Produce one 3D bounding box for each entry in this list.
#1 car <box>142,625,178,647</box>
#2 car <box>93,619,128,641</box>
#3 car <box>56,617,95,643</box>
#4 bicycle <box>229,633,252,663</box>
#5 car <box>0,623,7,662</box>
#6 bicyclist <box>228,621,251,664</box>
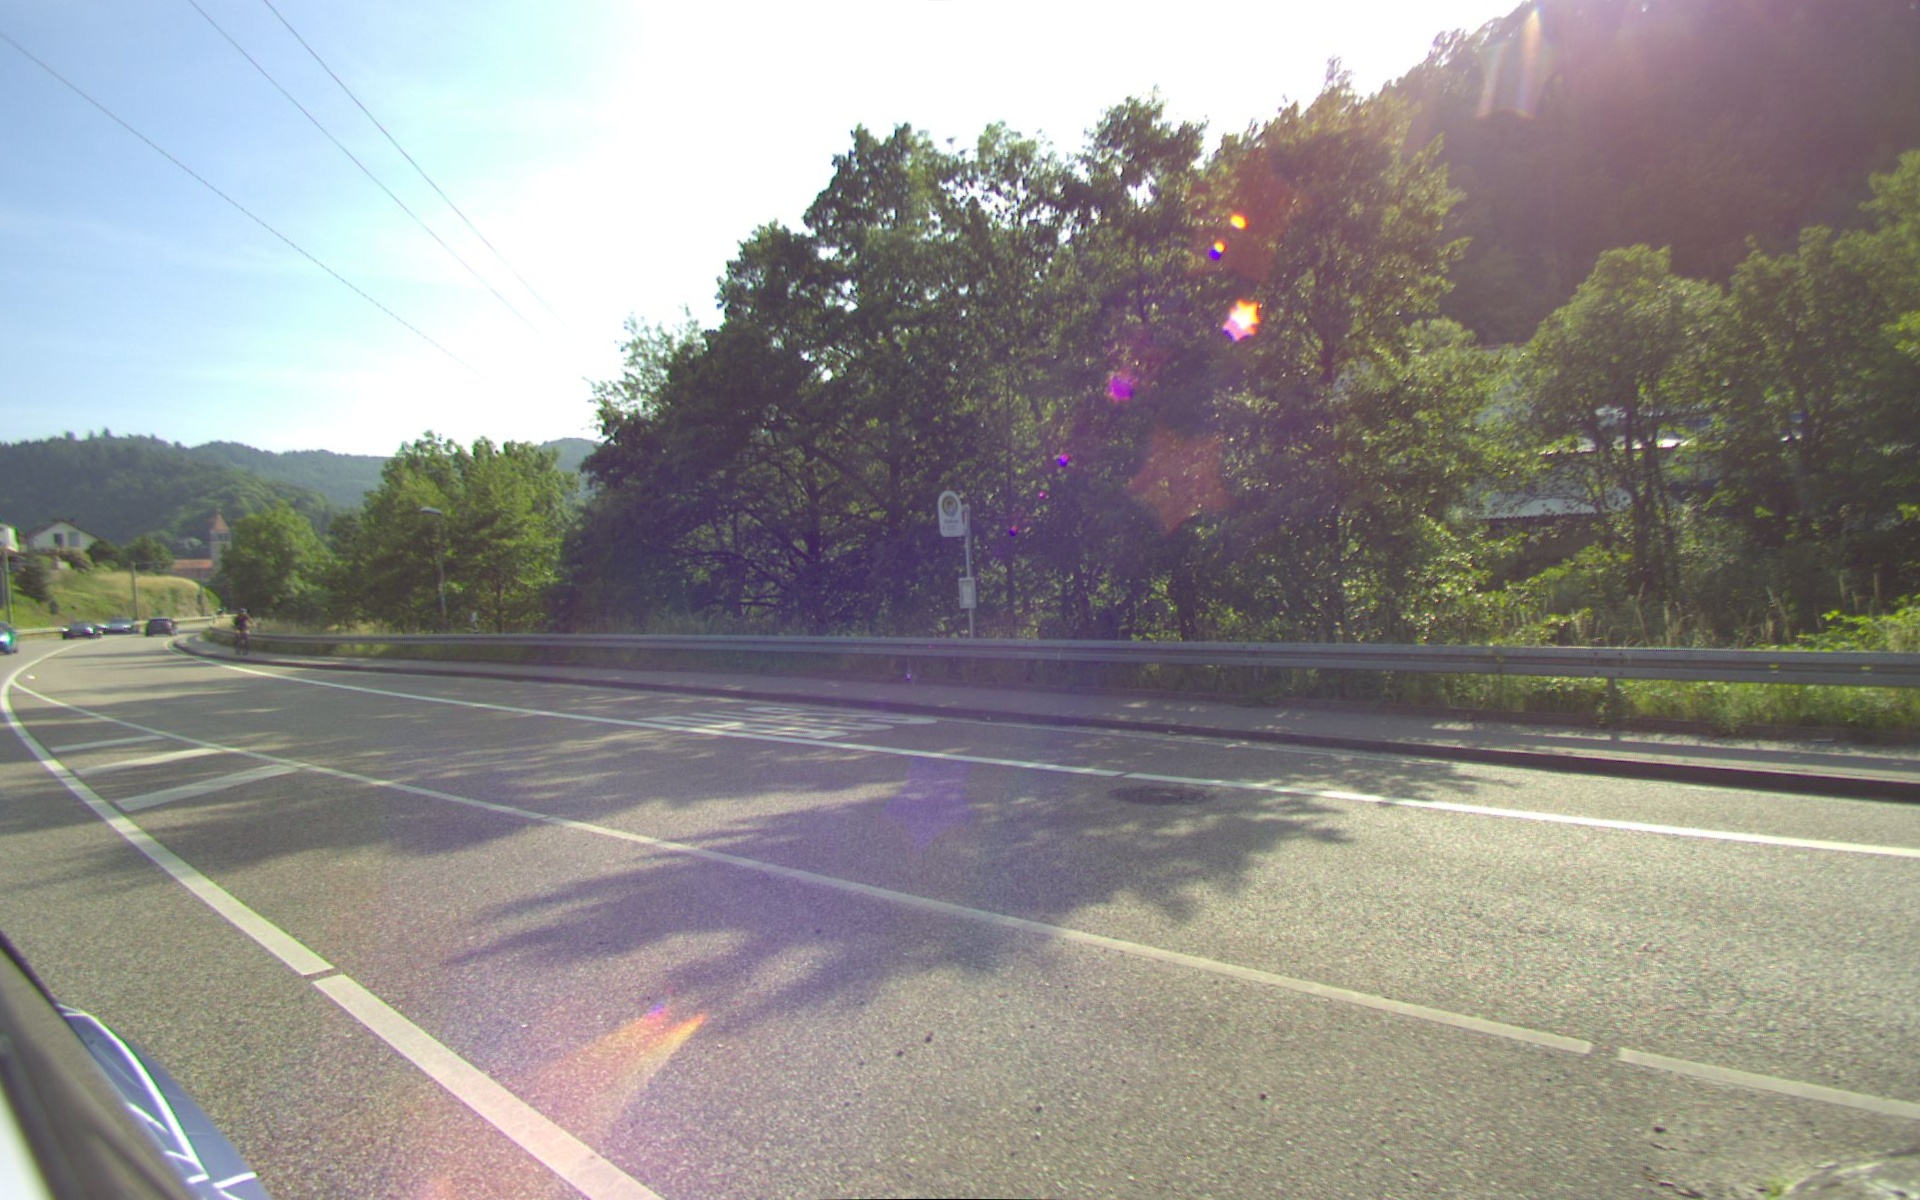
[{"bbox_3d":[-63.062,2.826,79.837,1.865,1.499,4.011,-2,1,-33],"label":"car"},{"bbox_3d":[-71.847,2.481,85.661,1.855,1.758,4.189,-1,0,-34],"label":"car"},{"bbox_3d":[-64.290,2.167,73.615,1.856,1.758,4.187,-1,0,-38],"label":"car"},{"bbox_3d":[-27.577,1.832,38.772,0.550,1.053,2.234,-6,2,-37],"label":"bicycle"},{"bbox_3d":[-45.078,1.934,46.459,1.858,1.758,4.181,1,-2,-44],"label":"car"},{"bbox_3d":[-27.550,1.617,38.697,0.550,1.598,1.038,-6,2,-37],"label":"bicyclist"}]
